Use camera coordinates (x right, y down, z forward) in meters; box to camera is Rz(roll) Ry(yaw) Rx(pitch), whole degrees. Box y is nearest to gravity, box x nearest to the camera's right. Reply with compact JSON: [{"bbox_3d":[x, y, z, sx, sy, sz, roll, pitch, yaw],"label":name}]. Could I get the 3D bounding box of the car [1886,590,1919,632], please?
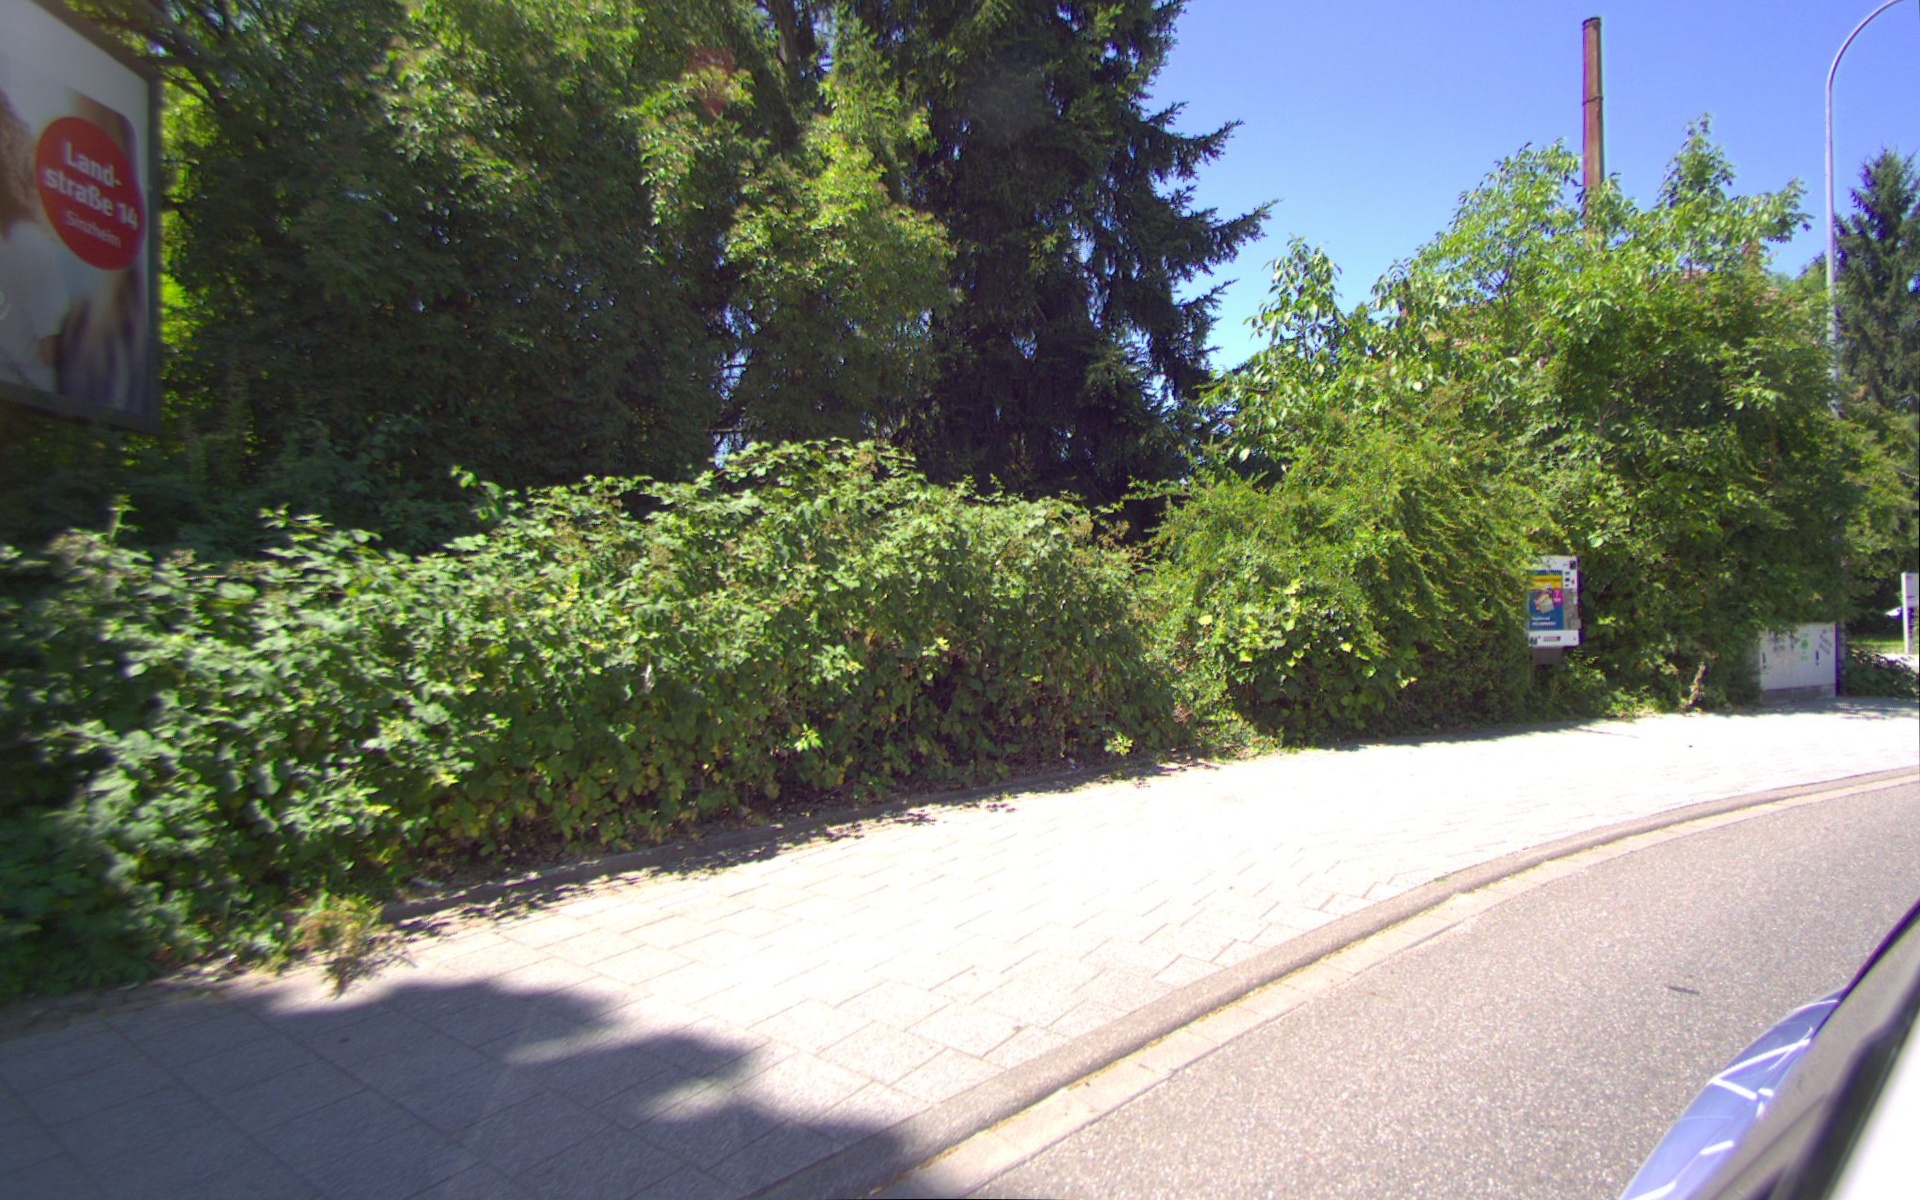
[{"bbox_3d":[37.137,0.413,37.581,3.951,1.555,1.631,0,0,40],"label":"car"}]
